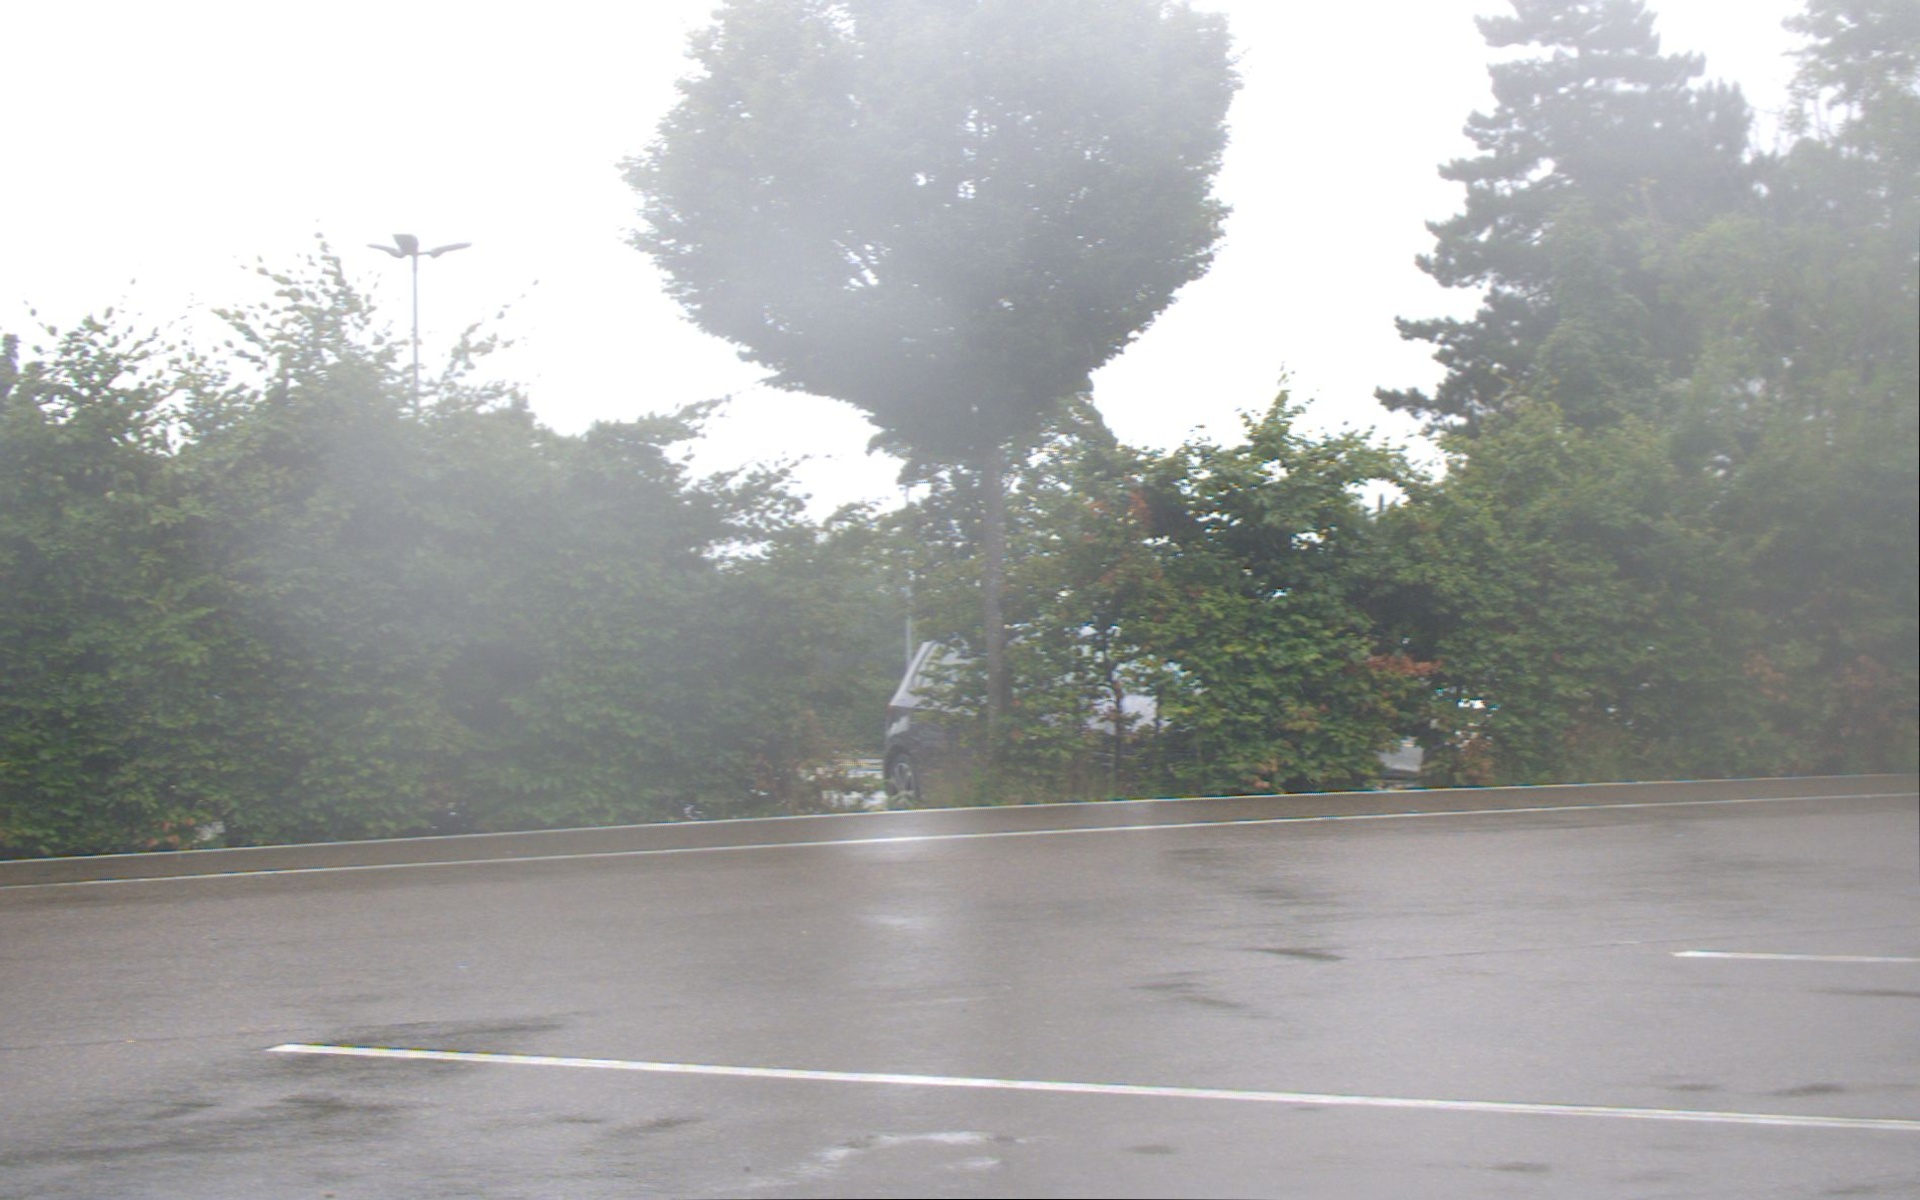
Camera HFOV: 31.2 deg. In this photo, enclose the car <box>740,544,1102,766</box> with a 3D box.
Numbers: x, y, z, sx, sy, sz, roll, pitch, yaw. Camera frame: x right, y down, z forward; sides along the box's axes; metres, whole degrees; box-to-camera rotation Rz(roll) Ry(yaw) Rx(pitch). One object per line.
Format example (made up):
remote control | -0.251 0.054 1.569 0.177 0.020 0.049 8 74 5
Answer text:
car | -0.406 0.432 28.073 1.780 1.623 4.095 -2 0 -18
